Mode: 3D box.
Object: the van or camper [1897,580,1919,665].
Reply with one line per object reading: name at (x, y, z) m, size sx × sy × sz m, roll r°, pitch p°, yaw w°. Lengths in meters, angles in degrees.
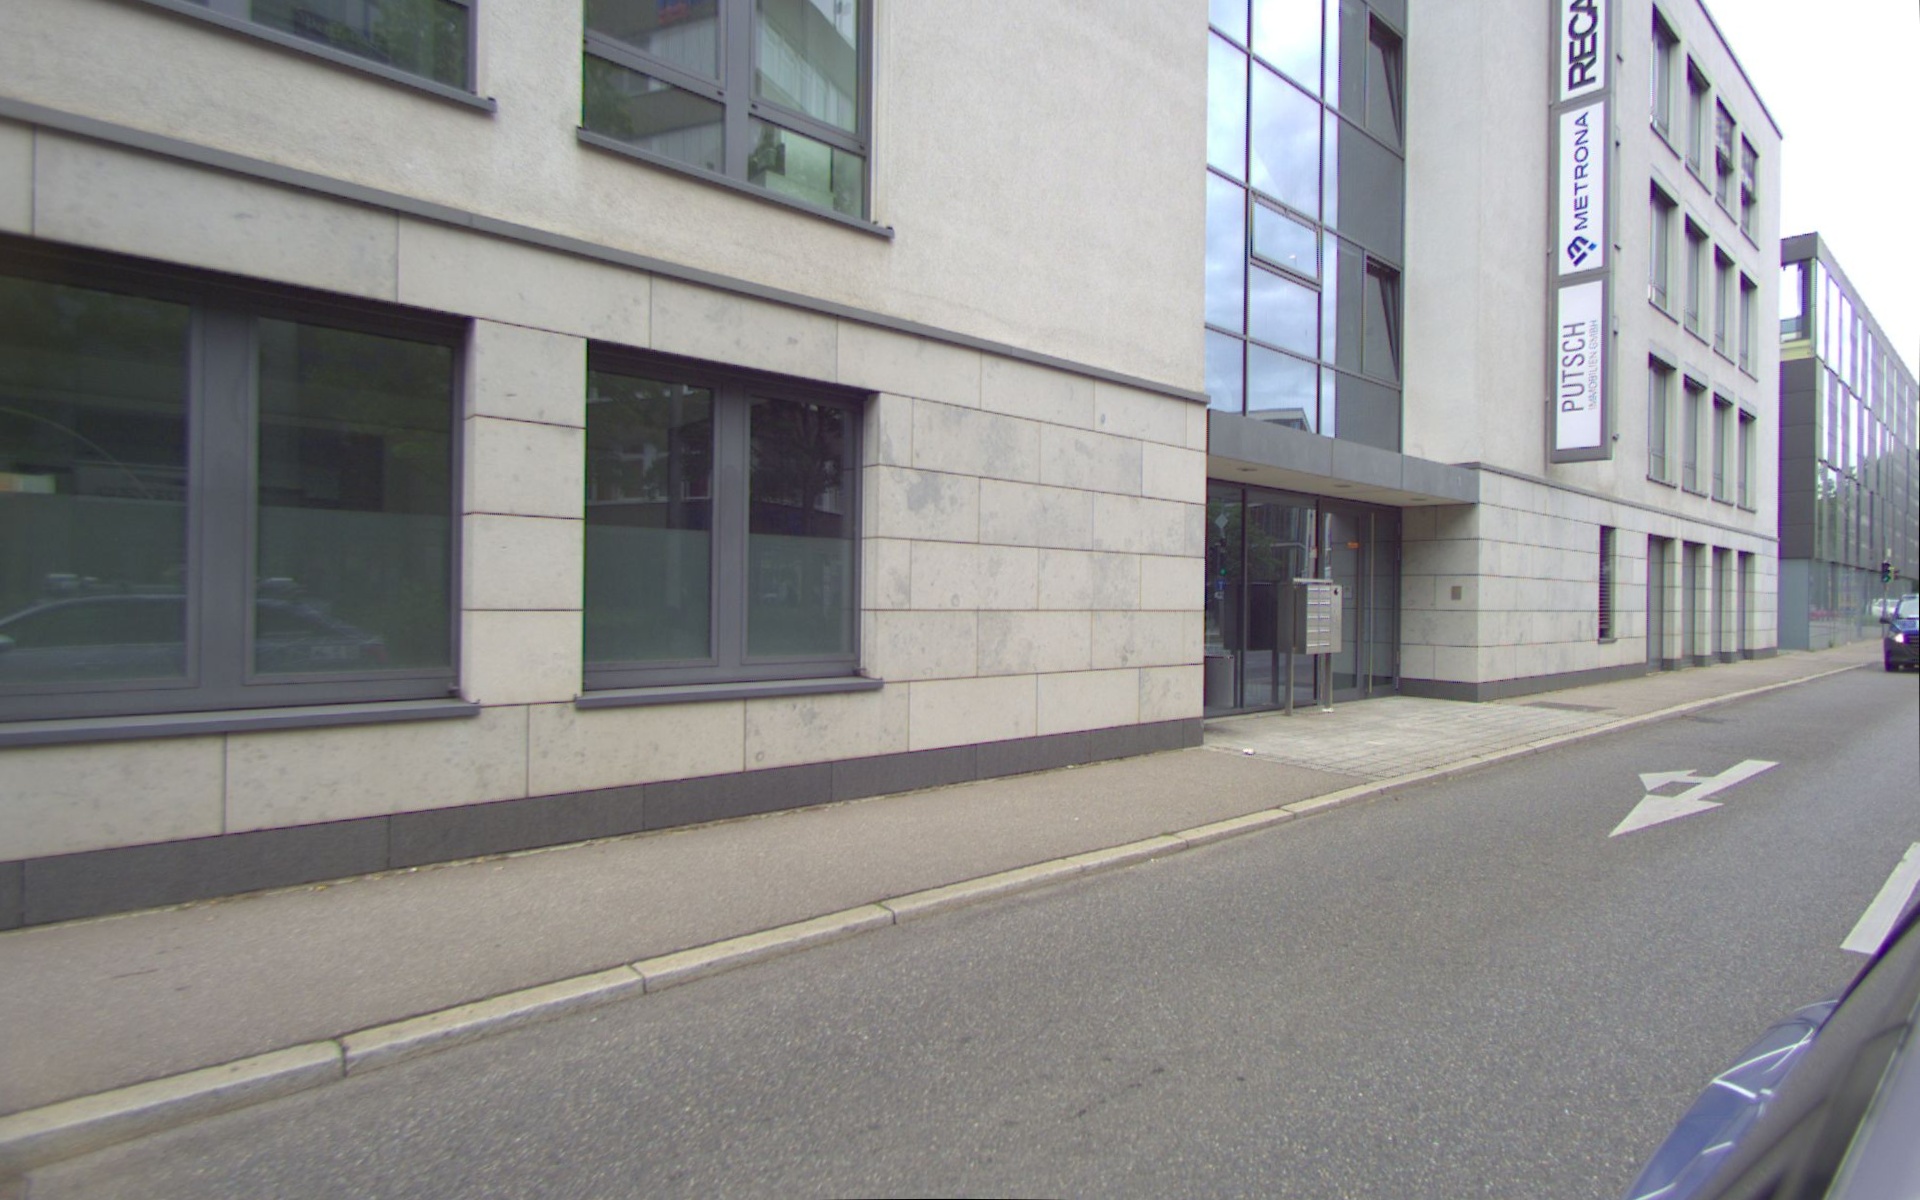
van or camper at (24.073, 0.516, 24.269) m, size 4.944 × 1.935 × 1.863 m, roll 0°, pitch 0°, yaw -41°
